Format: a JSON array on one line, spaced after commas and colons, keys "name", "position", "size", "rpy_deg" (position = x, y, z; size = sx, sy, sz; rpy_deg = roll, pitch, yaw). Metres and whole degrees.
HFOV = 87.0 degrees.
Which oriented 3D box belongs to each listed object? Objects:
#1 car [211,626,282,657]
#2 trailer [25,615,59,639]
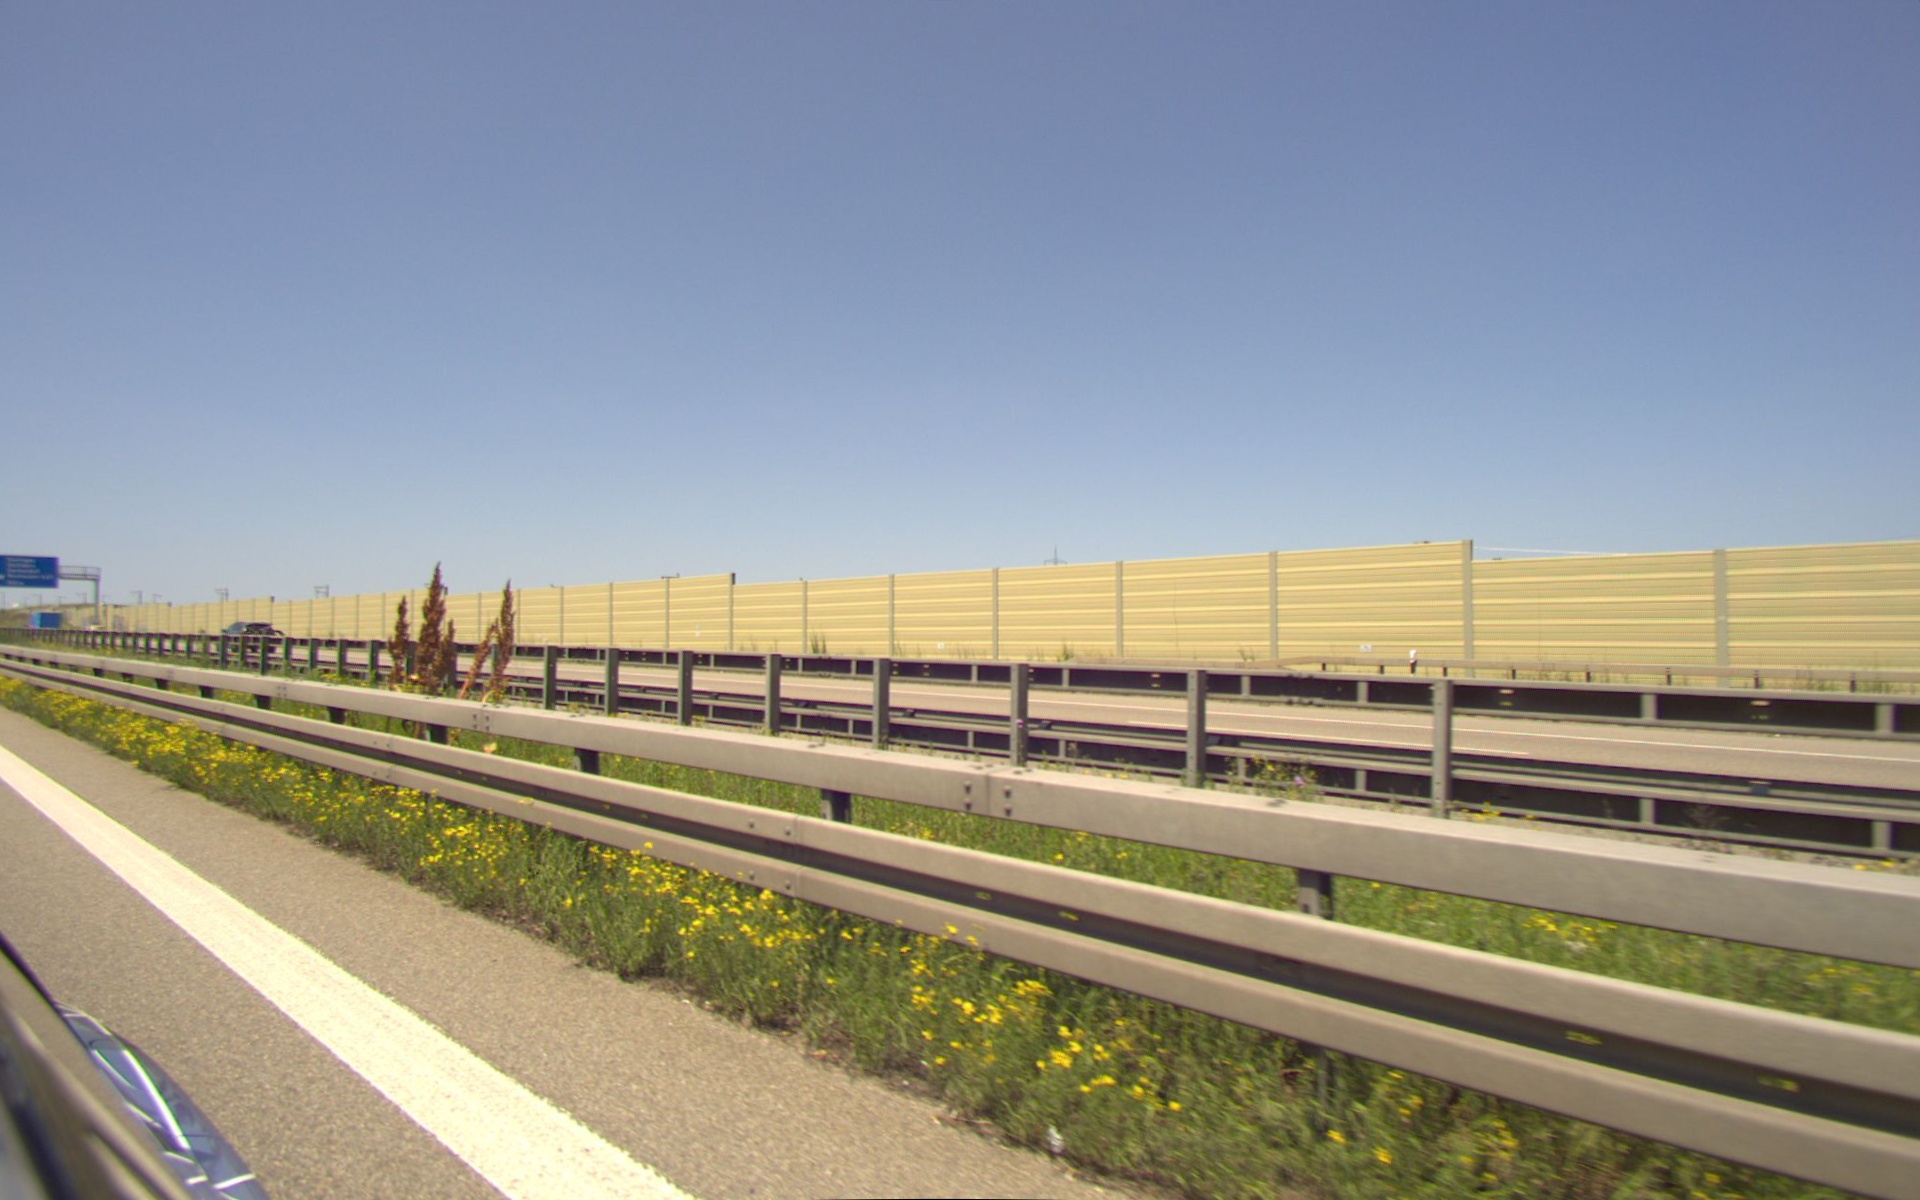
[{"name": "car", "position": [-38.663, 2.238, 54.765], "size": [5.244, 1.582, 1.876], "rpy_deg": [-1, -4, 41]}, {"name": "trailer", "position": [-91.855, 2.682, 101.234], "size": [4.201, 2.255, 1.974], "rpy_deg": [-1, 0, 40]}]
